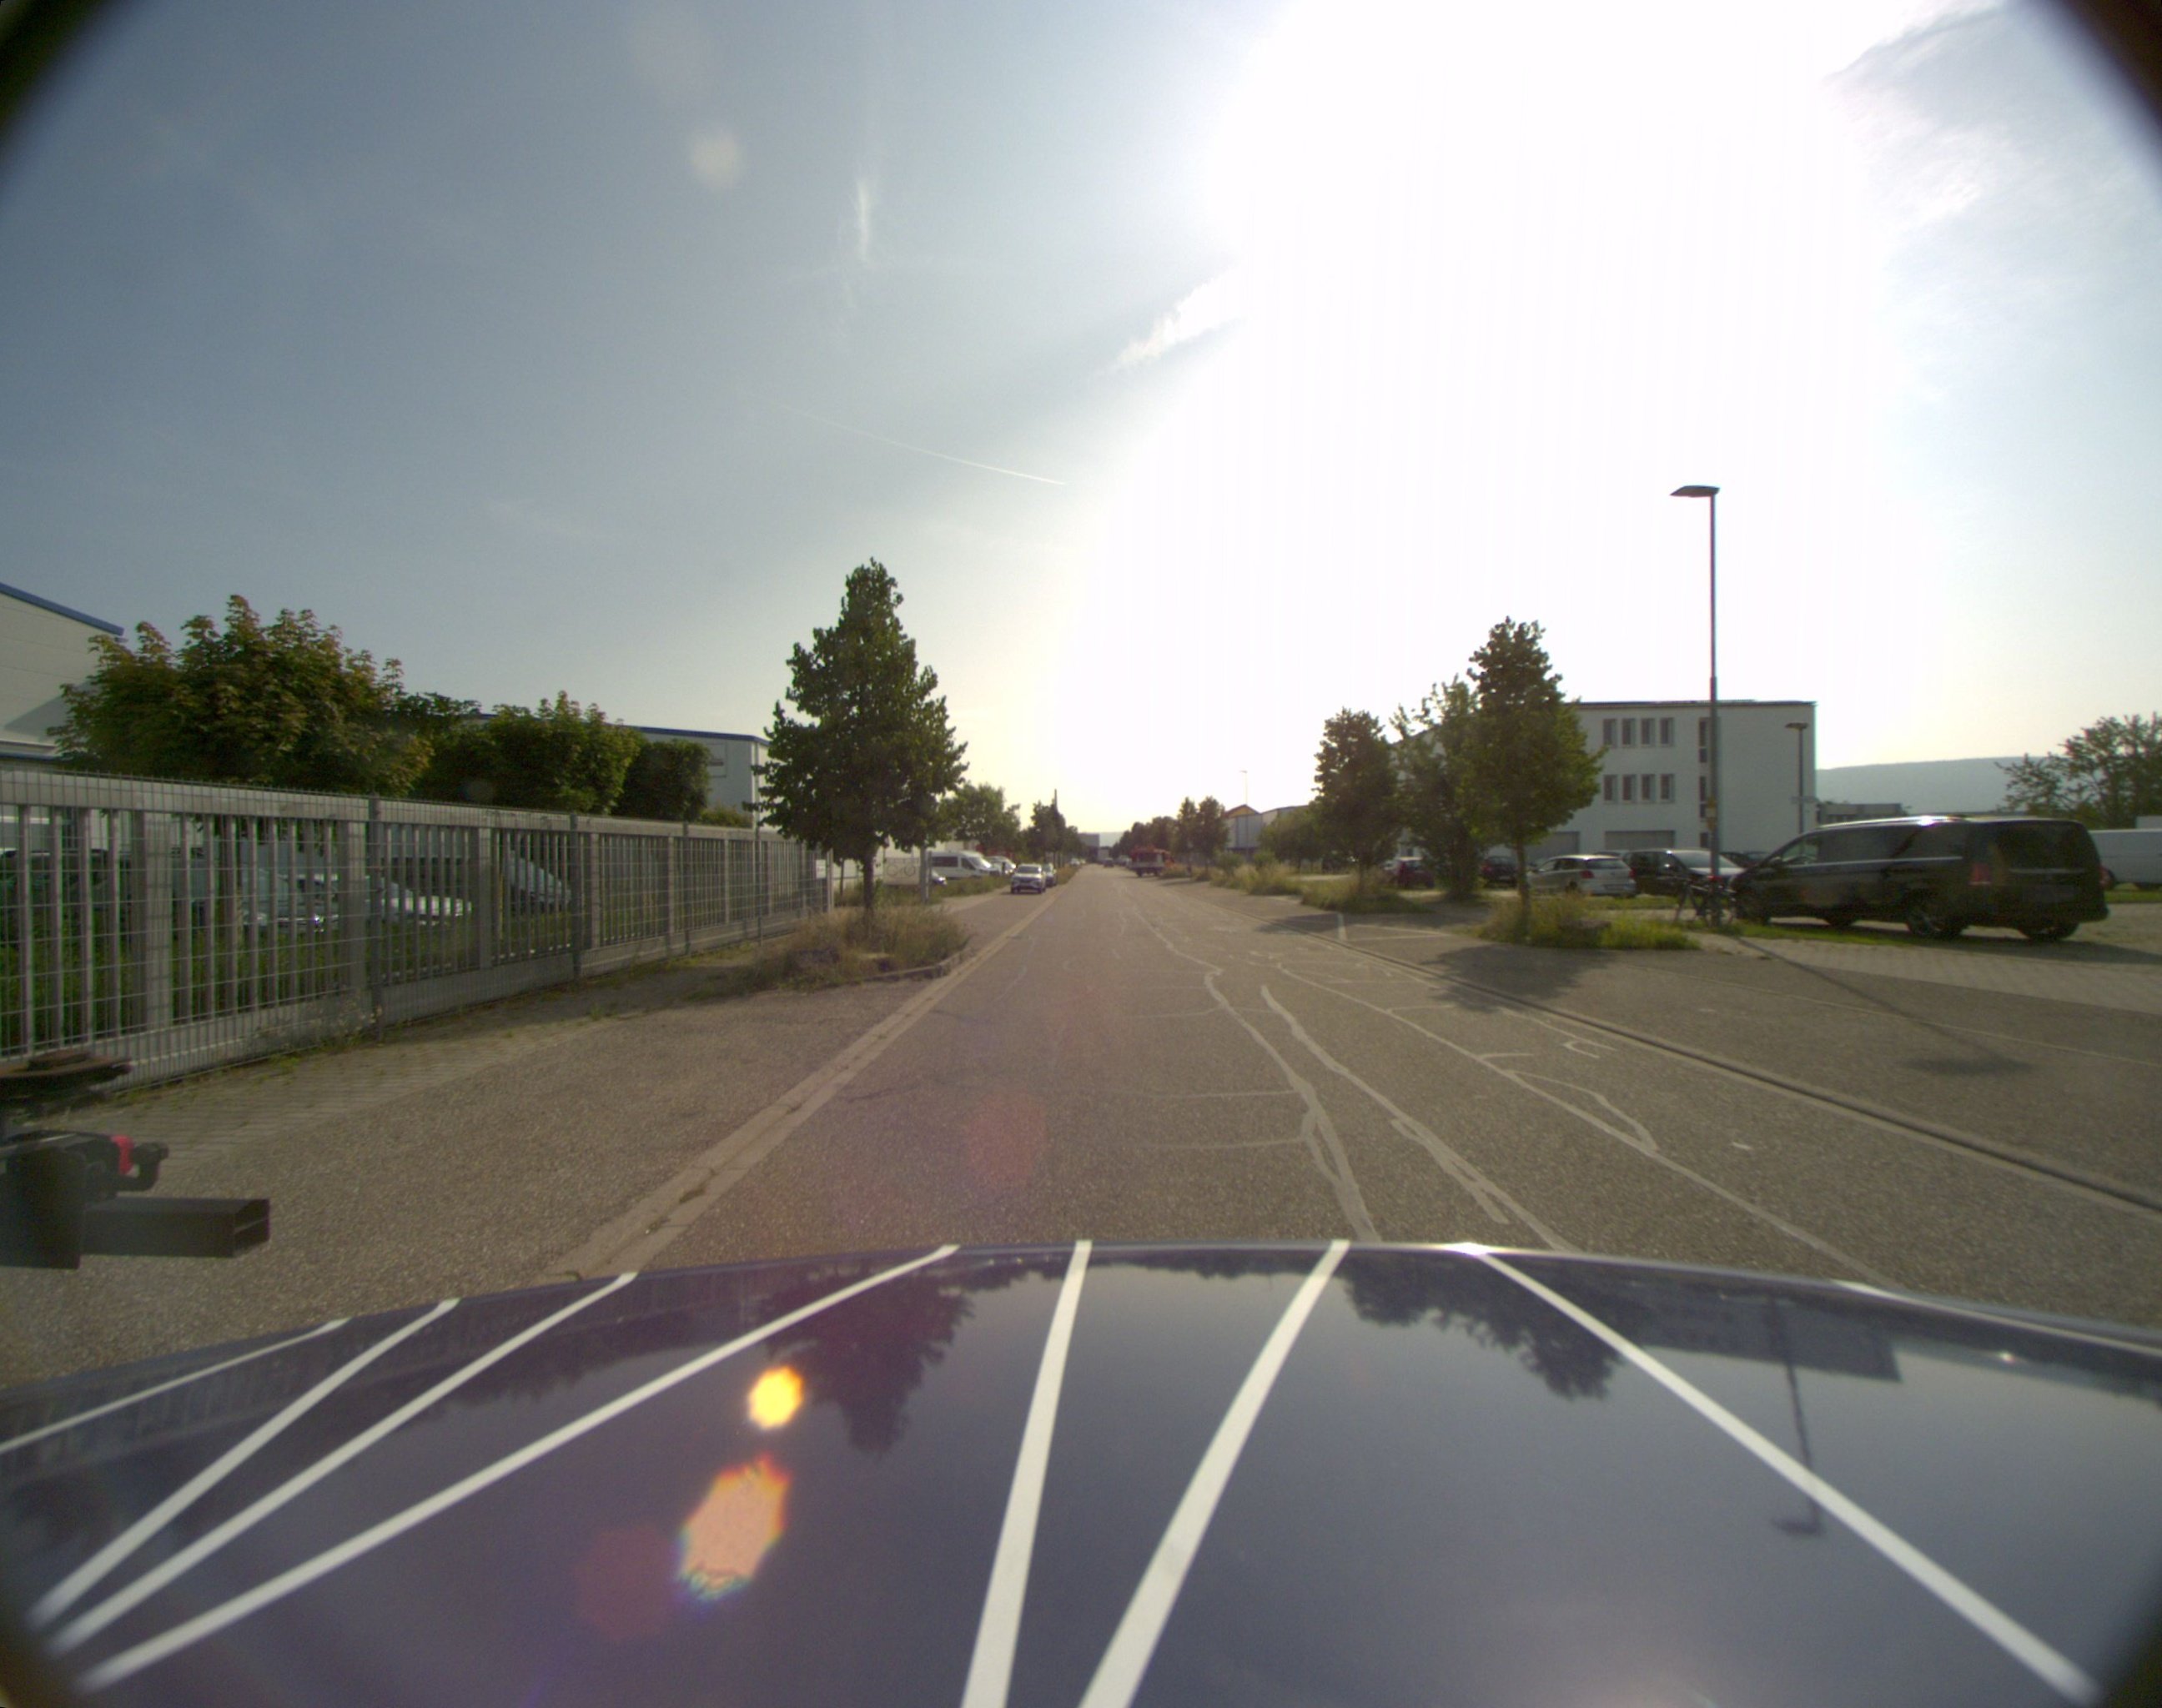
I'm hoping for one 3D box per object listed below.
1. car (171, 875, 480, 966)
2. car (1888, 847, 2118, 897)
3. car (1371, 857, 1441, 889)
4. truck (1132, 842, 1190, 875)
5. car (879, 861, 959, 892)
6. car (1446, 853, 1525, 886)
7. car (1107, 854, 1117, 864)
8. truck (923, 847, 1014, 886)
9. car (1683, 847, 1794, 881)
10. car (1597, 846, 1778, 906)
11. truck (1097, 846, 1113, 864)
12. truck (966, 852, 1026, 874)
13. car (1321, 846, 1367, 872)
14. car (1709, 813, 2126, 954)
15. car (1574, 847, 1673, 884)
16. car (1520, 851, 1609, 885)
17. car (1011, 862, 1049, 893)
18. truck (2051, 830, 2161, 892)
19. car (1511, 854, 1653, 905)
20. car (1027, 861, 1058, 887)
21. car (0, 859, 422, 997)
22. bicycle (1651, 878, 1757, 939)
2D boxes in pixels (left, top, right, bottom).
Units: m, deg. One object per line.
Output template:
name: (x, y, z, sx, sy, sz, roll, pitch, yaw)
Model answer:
car: (-13.487, 1.162, 13.709, 4.015, 1.453, 1.754, -1, 0, 6)
car: (28.223, 0.516, 23.530, 1.737, 1.364, 4.381, -1, 0, -2)
car: (15.280, 0.847, 35.912, 1.758, 1.401, 3.919, -1, 0, 2)
truck: (7.563, 0.414, 70.635, 2.508, 2.817, 8.860, 1, 0, 26)
car: (-8.432, 1.151, 39.406, 3.989, 1.489, 1.902, -1, 0, 37)
car: (18.918, 0.682, 35.722, 1.758, 1.459, 3.919, -1, 0, 2)
car: (5.487, 0.860, 133.374, 1.668, 1.495, 3.540, -1, 1, 1)
truck: (-7.724, 0.791, 51.784, 6.194, 2.516, 2.280, 0, 1, 34)
car: (30.012, 0.431, 34.846, 1.758, 1.459, 3.919, -1, 0, 2)
car: (18.215, 0.603, 23.159, 1.947, 1.597, 4.509, -1, 0, 1)
truck: (5.840, 0.219, 185.329, 3.413, 4.017, 10.395, -3, 0, 1)
truck: (-8.267, 0.845, 73.265, 5.815, 2.009, 2.280, -1, 0, 39)
car: (19.600, 0.339, 56.892, 1.998, 1.827, 4.696, -1, 0, 3)
car: (13.998, 0.433, 13.334, 1.886, 2.002, 4.991, 0, 0, 1)
car: (25.079, 0.498, 35.328, 1.910, 1.609, 3.919, -1, 0, 2)
car: (22.488, 0.623, 35.533, 1.758, 1.459, 3.919, -1, 0, 2)
car: (-2.632, 1.193, 39.760, 1.668, 1.495, 3.541, 1, 0, 1)
truck: (33.929, 0.199, 23.289, 1.999, 1.892, 4.952, -1, 0, -2)
car: (15.384, 0.728, 23.591, 1.790, 1.441, 3.918, -1, 0, -1)
car: (-2.336, 1.198, 47.382, 1.694, 1.495, 3.541, 1, 0, 1)
car: (-12.679, 0.983, 10.944, 4.498, 1.712, 1.999, -1, 0, -3)
bicycle: (11.360, 0.961, 13.930, 0.541, 0.973, 1.871, -1, 0, 5)
